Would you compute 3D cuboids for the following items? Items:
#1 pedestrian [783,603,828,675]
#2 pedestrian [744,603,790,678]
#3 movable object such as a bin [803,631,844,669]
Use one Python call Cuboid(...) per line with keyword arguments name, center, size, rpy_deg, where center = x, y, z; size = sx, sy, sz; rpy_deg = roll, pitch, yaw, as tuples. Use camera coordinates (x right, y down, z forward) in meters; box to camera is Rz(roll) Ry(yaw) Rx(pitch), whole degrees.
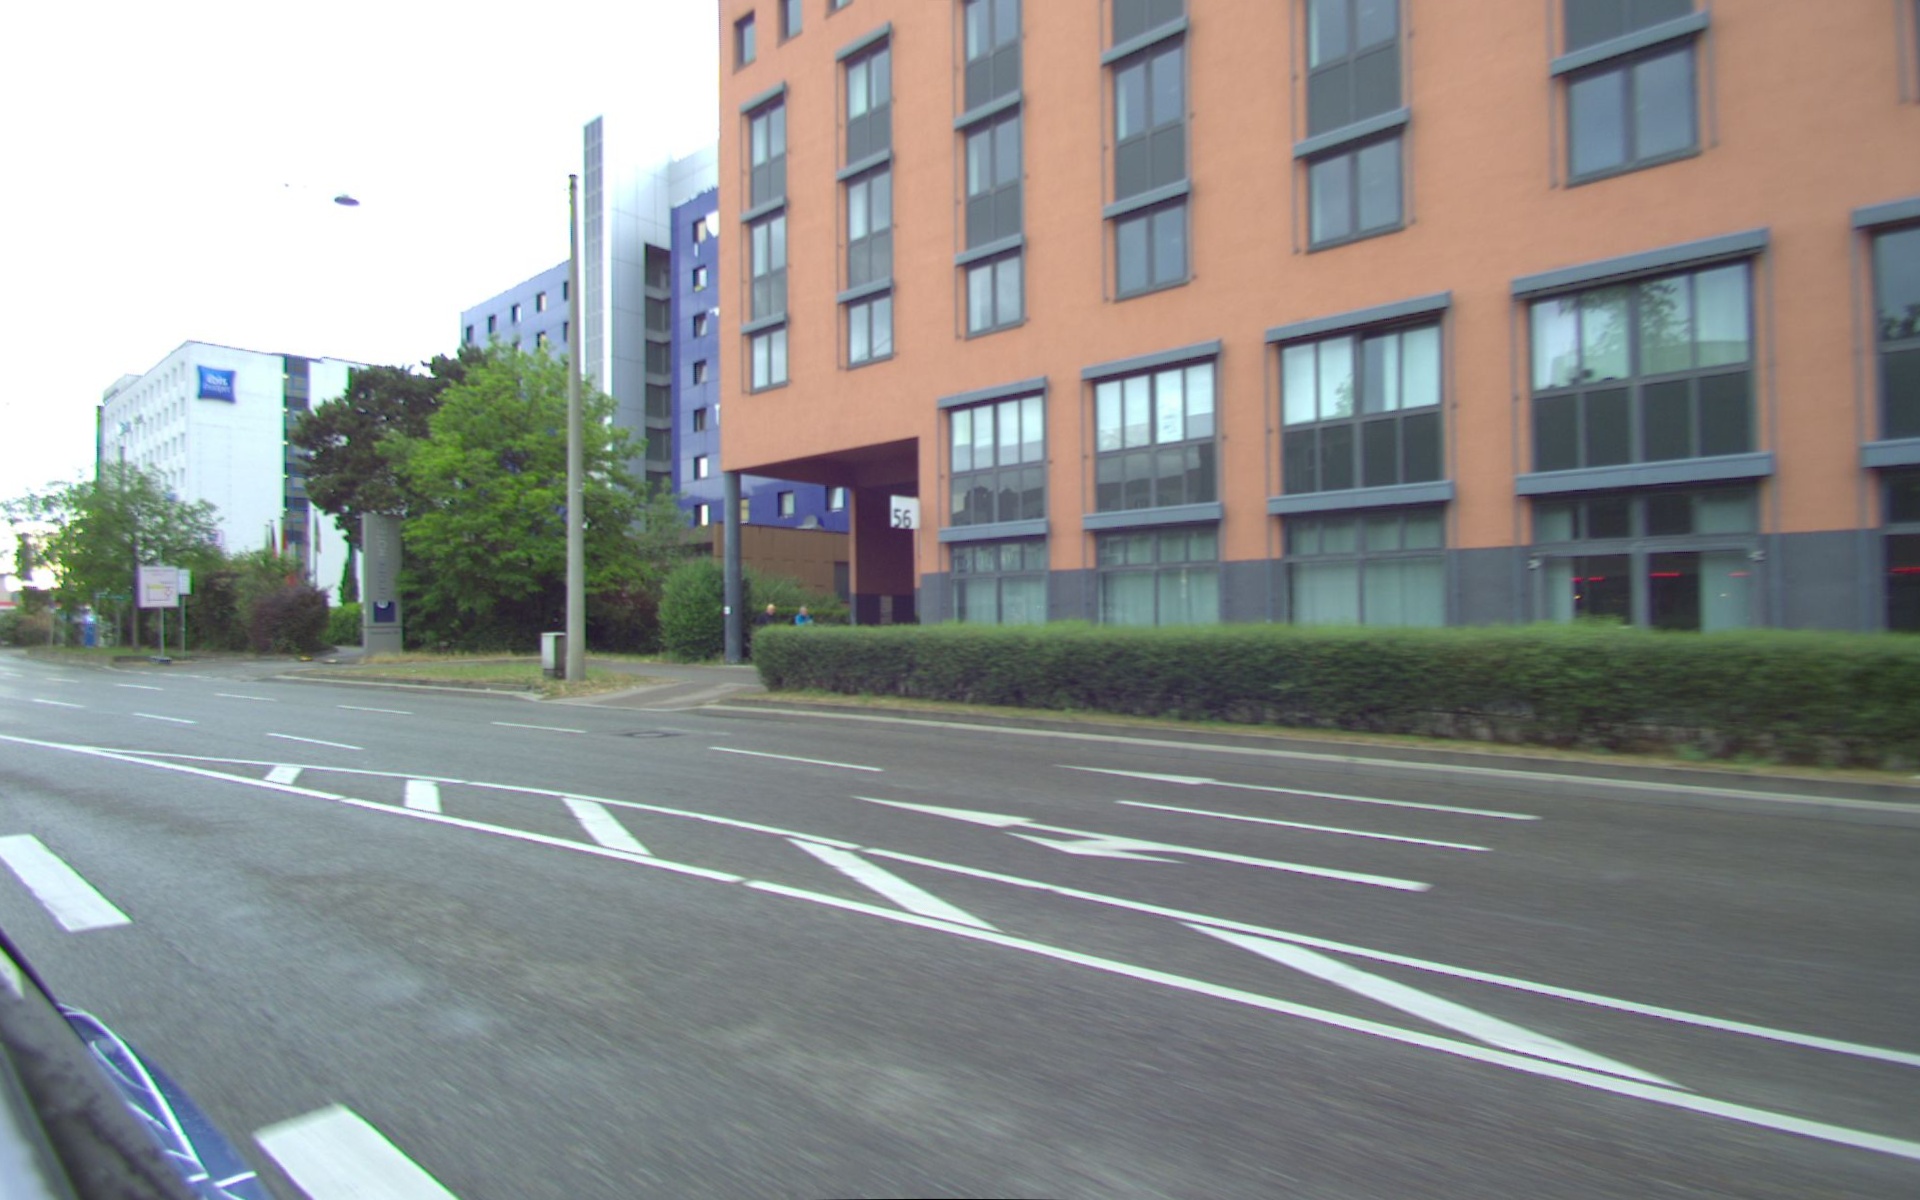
Cuboid(name="pedestrian", center=(-4.091, 1.031, 26.779), size=(0.885, 1.855, 0.738), rpy_deg=(-2, -1, 40))
Cuboid(name="pedestrian", center=(-4.947, 1.029, 25.880), size=(0.885, 1.855, 0.738), rpy_deg=(-2, -1, 40))
Cuboid(name="movable object such as a bin", center=(-4.684, 1.688, 34.637), size=(1.208, 1.257, 0.773), rpy_deg=(-2, -2, 37))
